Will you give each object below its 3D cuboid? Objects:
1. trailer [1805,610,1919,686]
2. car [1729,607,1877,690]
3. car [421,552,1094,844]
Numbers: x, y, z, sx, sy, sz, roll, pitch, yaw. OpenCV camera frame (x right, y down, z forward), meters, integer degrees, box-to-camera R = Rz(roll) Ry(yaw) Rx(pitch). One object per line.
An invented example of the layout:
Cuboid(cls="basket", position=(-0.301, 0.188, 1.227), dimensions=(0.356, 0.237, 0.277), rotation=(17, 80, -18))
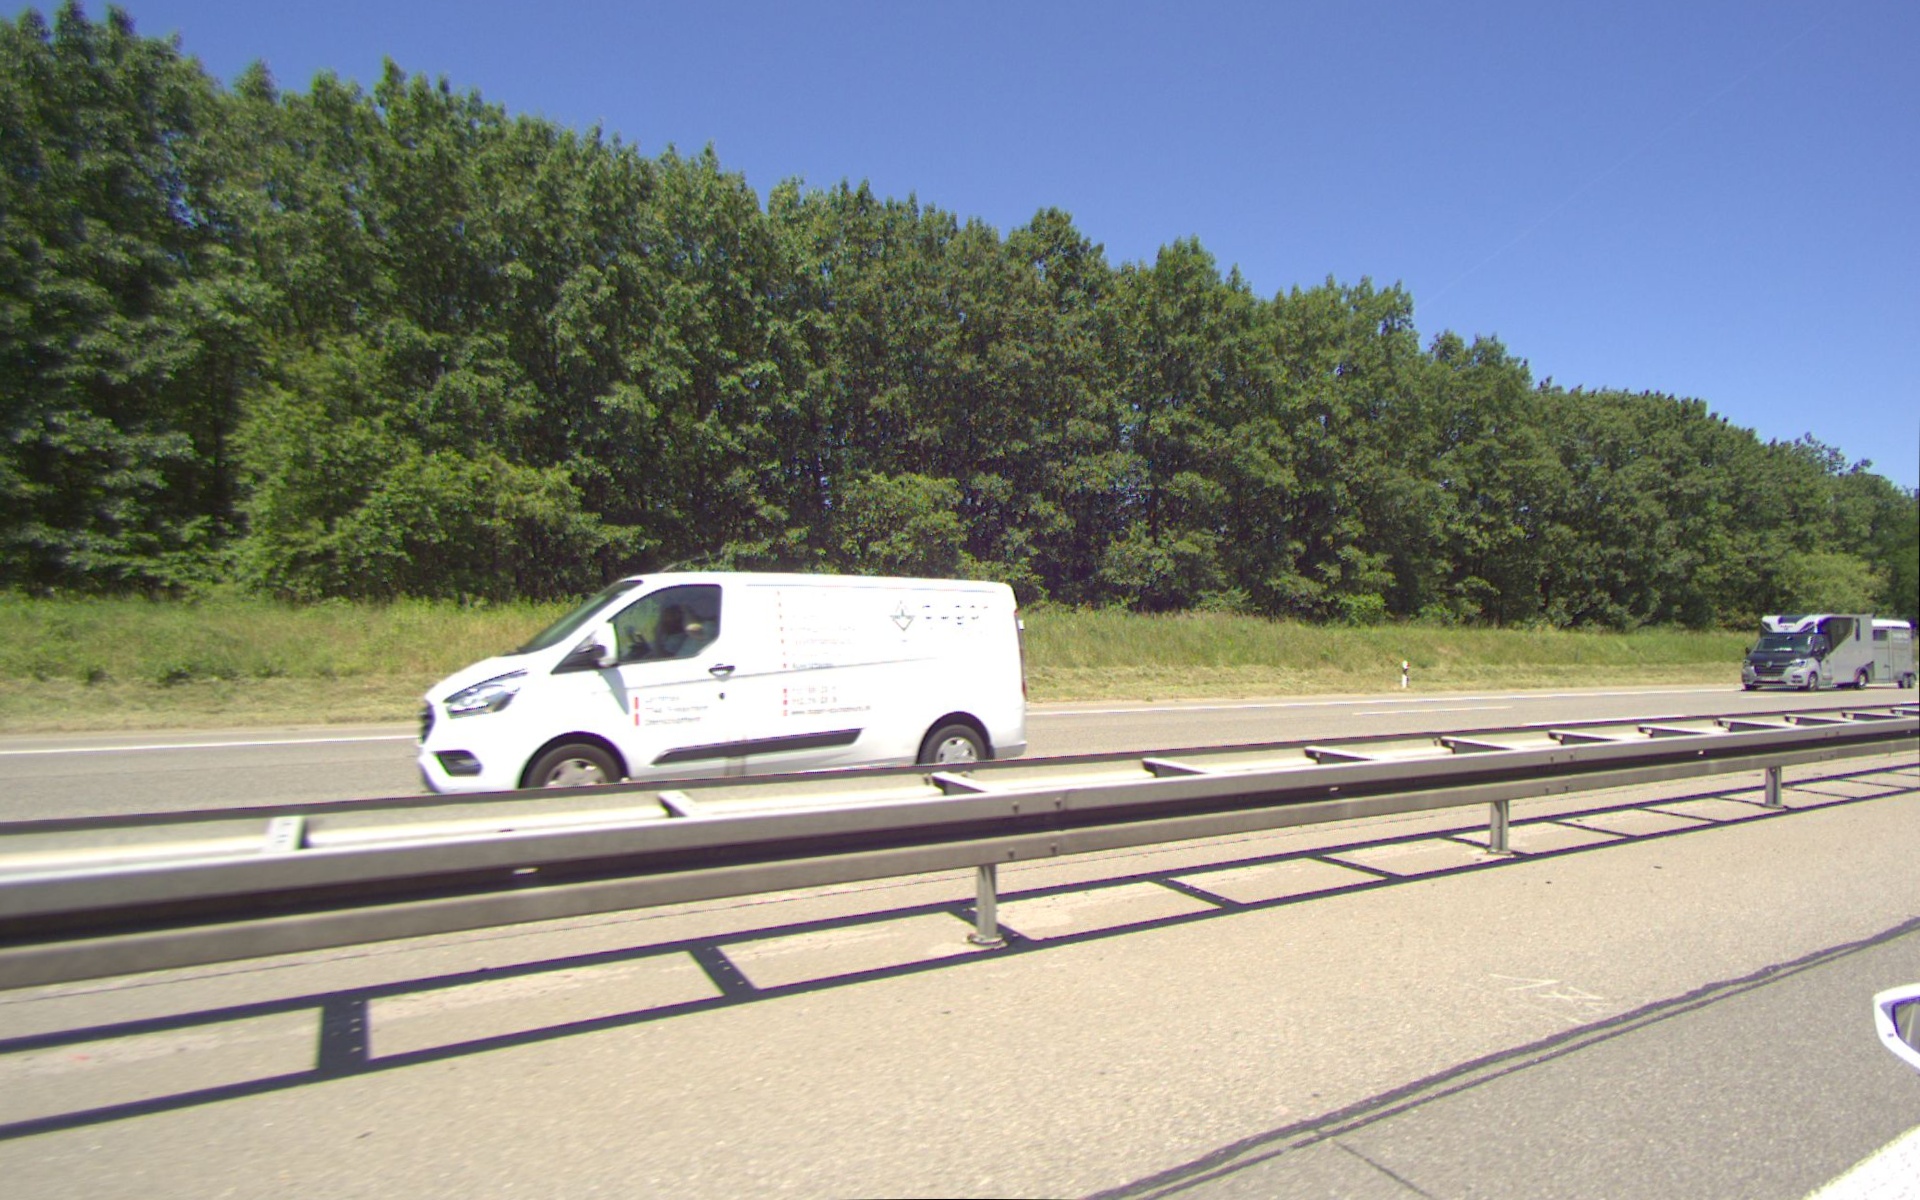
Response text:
Cuboid(cls="trailer", position=(36.218, 1.934, 40.242), dimensions=(4.532, 2.895, 2.202), rotation=(2, -3, -31))
Cuboid(cls="car", position=(31.506, 1.809, 37.479), dimensions=(6.379, 2.895, 2.202), rotation=(2, -3, -31))
Cuboid(cls="car", position=(-1.630, 0.775, 9.140), dimensions=(5.677, 1.972, 1.986), rotation=(2, -3, -31))
